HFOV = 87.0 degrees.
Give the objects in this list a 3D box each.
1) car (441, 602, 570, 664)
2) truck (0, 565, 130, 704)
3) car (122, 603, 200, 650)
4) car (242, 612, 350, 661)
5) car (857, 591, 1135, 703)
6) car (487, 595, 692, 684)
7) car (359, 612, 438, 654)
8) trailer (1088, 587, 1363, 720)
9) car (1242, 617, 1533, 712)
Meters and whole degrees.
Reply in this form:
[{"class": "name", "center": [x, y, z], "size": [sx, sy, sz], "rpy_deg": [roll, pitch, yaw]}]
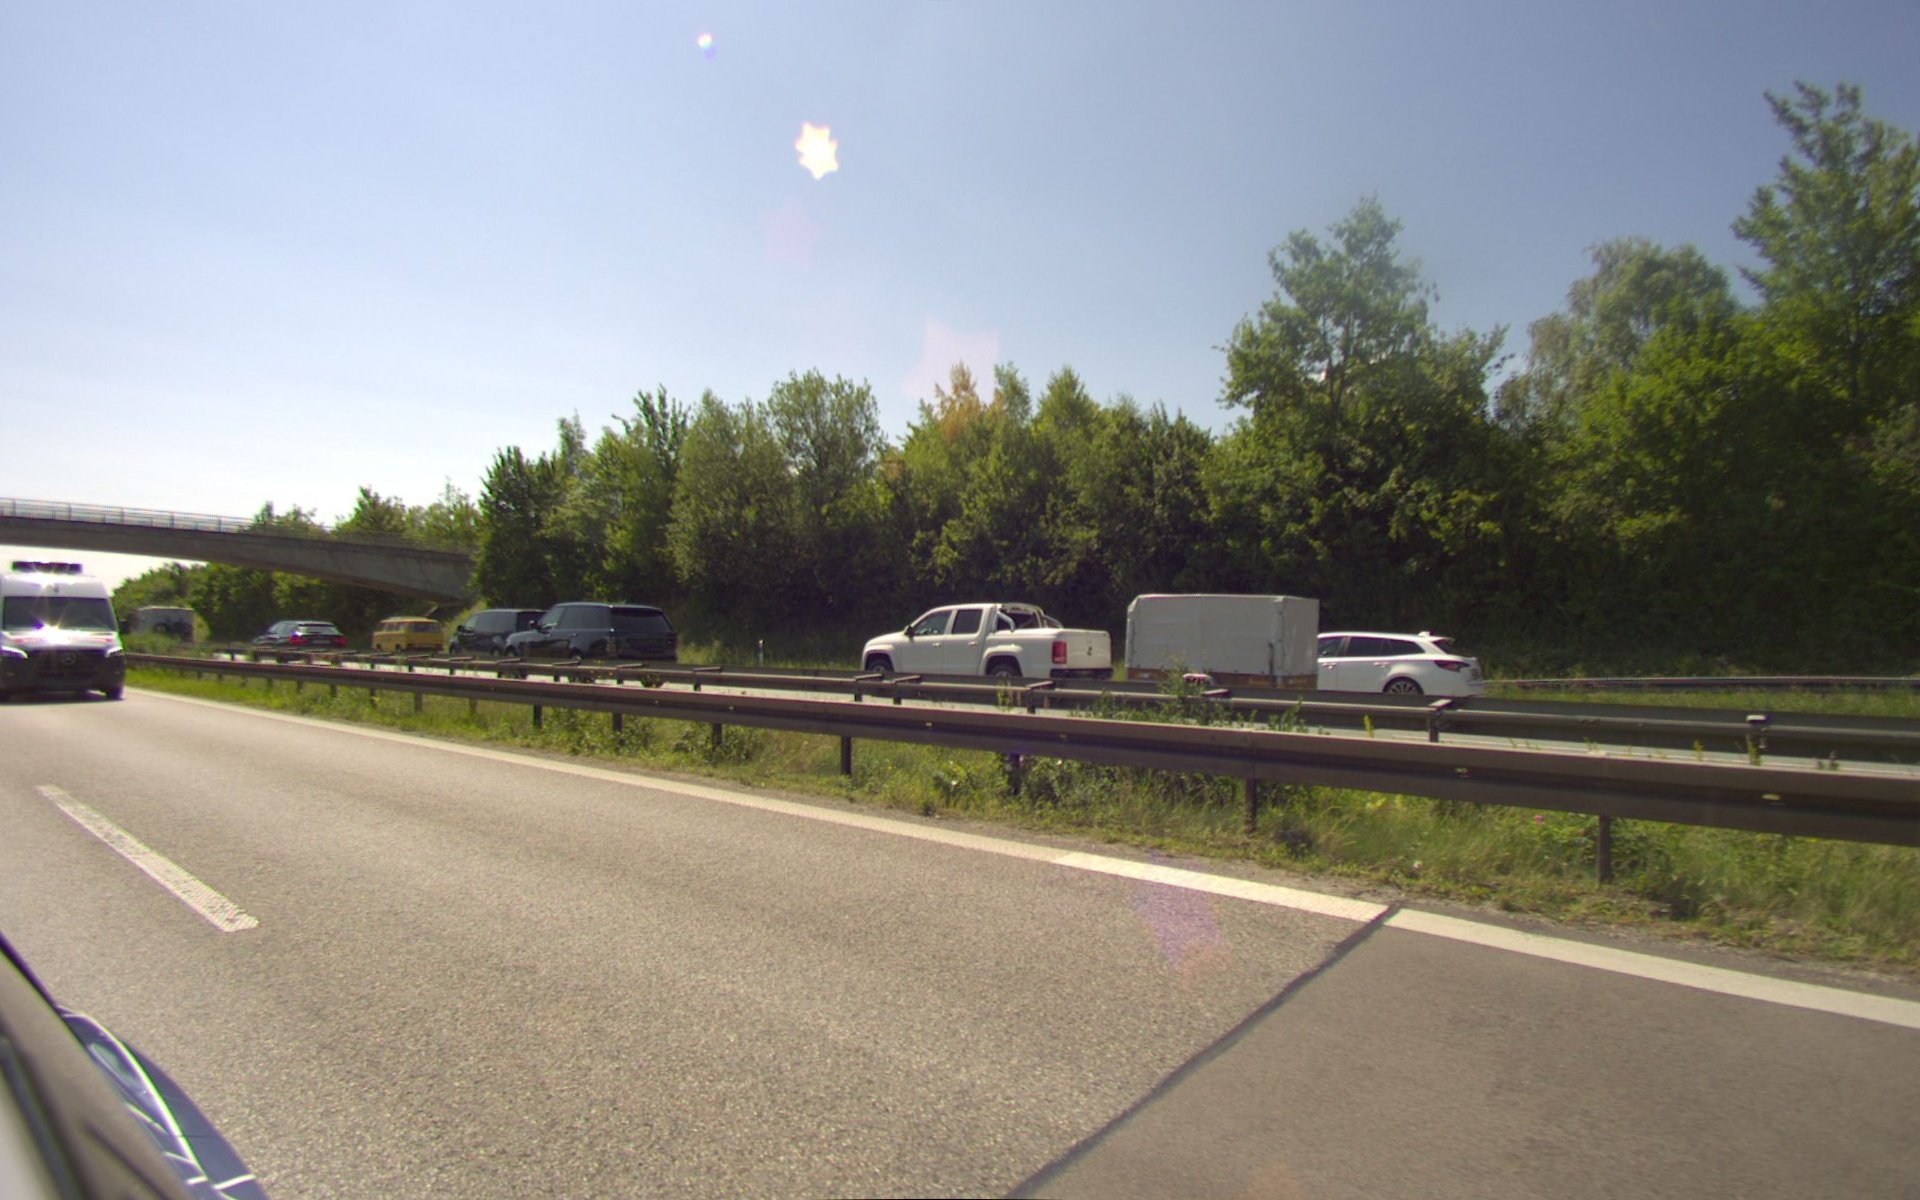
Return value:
[{"class": "car", "center": [-15.334, 1.076, 34.032], "size": [5.194, 1.927, 1.973], "rpy_deg": [-1, -2, 41]}, {"class": "truck", "center": [-19.632, 0.693, 21.533], "size": [6.689, 2.562, 1.973], "rpy_deg": [-1, -2, 41]}, {"class": "car", "center": [-53.807, 1.748, 68.084], "size": [6.988, 2.992, 2.521], "rpy_deg": [-1, -2, 38]}, {"class": "car", "center": [-22.635, 1.233, 34.433], "size": [4.853, 1.533, 1.815], "rpy_deg": [-1, -3, 41]}, {"class": "car", "center": [0.541, 0.768, 18.939], "size": [5.124, 1.818, 1.973], "rpy_deg": [0, 0, 41]}, {"class": "car", "center": [-8.150, 0.835, 21.983], "size": [5.194, 1.720, 1.886], "rpy_deg": [-1, -3, 41]}, {"class": "car", "center": [-27.790, 1.608, 50.039], "size": [4.651, 1.967, 1.886], "rpy_deg": [-1, -3, 41]}, {"class": "trailer", "center": [4.091, 0.741, 15.950], "size": [3.920, 1.848, 1.603], "rpy_deg": [0, 0, 41]}, {"class": "car", "center": [7.689, 1.067, 18.466], "size": [4.530, 1.453, 1.973], "rpy_deg": [0, 0, 41]}]
